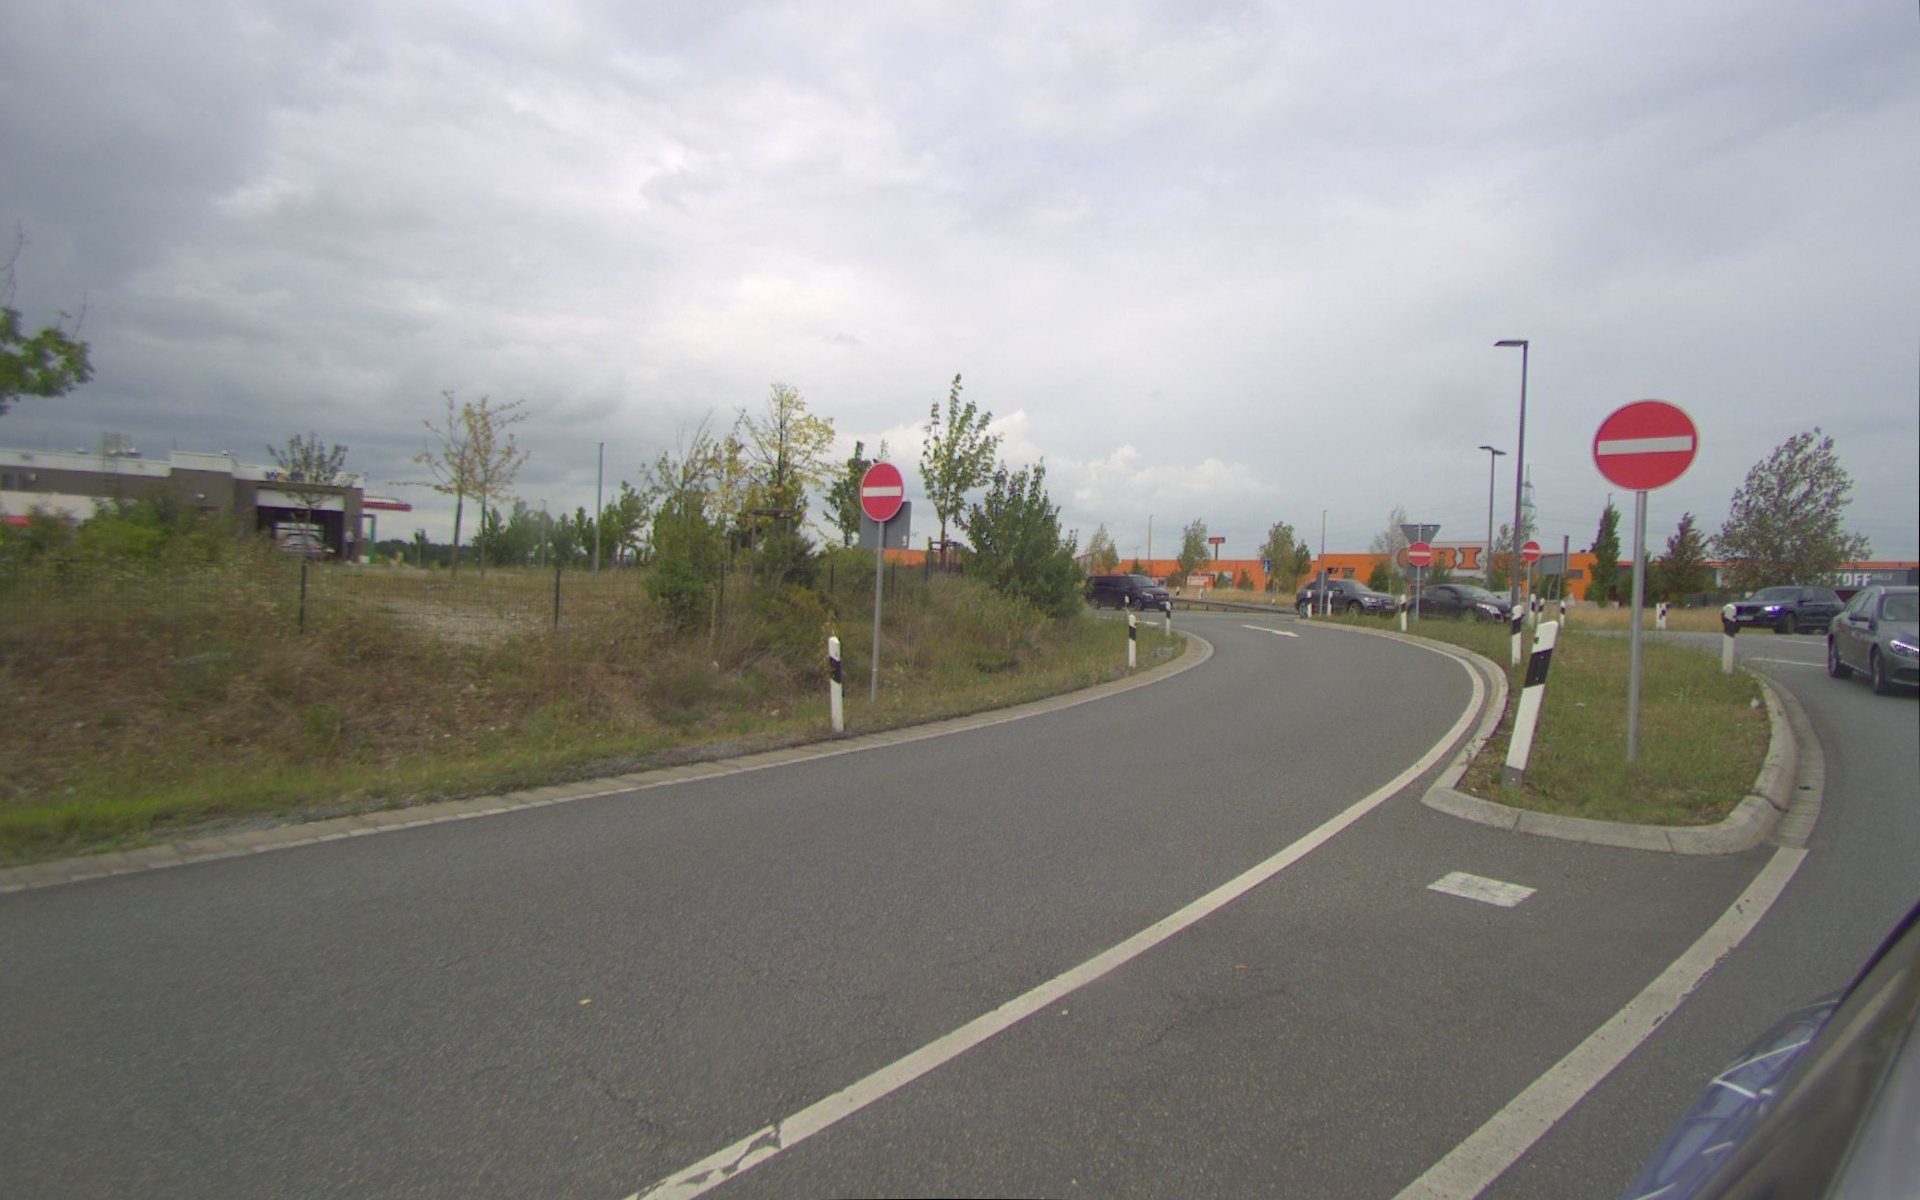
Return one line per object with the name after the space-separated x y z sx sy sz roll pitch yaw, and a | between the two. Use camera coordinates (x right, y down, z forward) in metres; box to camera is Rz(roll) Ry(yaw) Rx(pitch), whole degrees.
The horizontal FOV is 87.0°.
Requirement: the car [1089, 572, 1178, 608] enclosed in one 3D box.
8.841 -0.543 51.907 1.689 1.743 4.748 1 1 -33 | car

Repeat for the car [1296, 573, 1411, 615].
15.849 -0.258 41.004 1.845 1.603 4.285 1 1 -23 | car

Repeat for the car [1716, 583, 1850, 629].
32.957 0.236 40.662 3.974 1.679 1.975 2 0 35 | car

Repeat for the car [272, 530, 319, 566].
-29.828 -2.280 45.406 1.638 1.449 4.000 1 0 -35 | car

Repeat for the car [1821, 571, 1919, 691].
13.882 0.422 14.226 1.892 1.515 4.292 3 2 30 | car

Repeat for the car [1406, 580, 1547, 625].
17.028 0.058 33.612 1.805 1.387 4.154 1 1 -16 | car

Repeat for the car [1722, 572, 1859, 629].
27.988 0.063 34.132 3.916 1.742 1.847 2 -3 -21 | car
